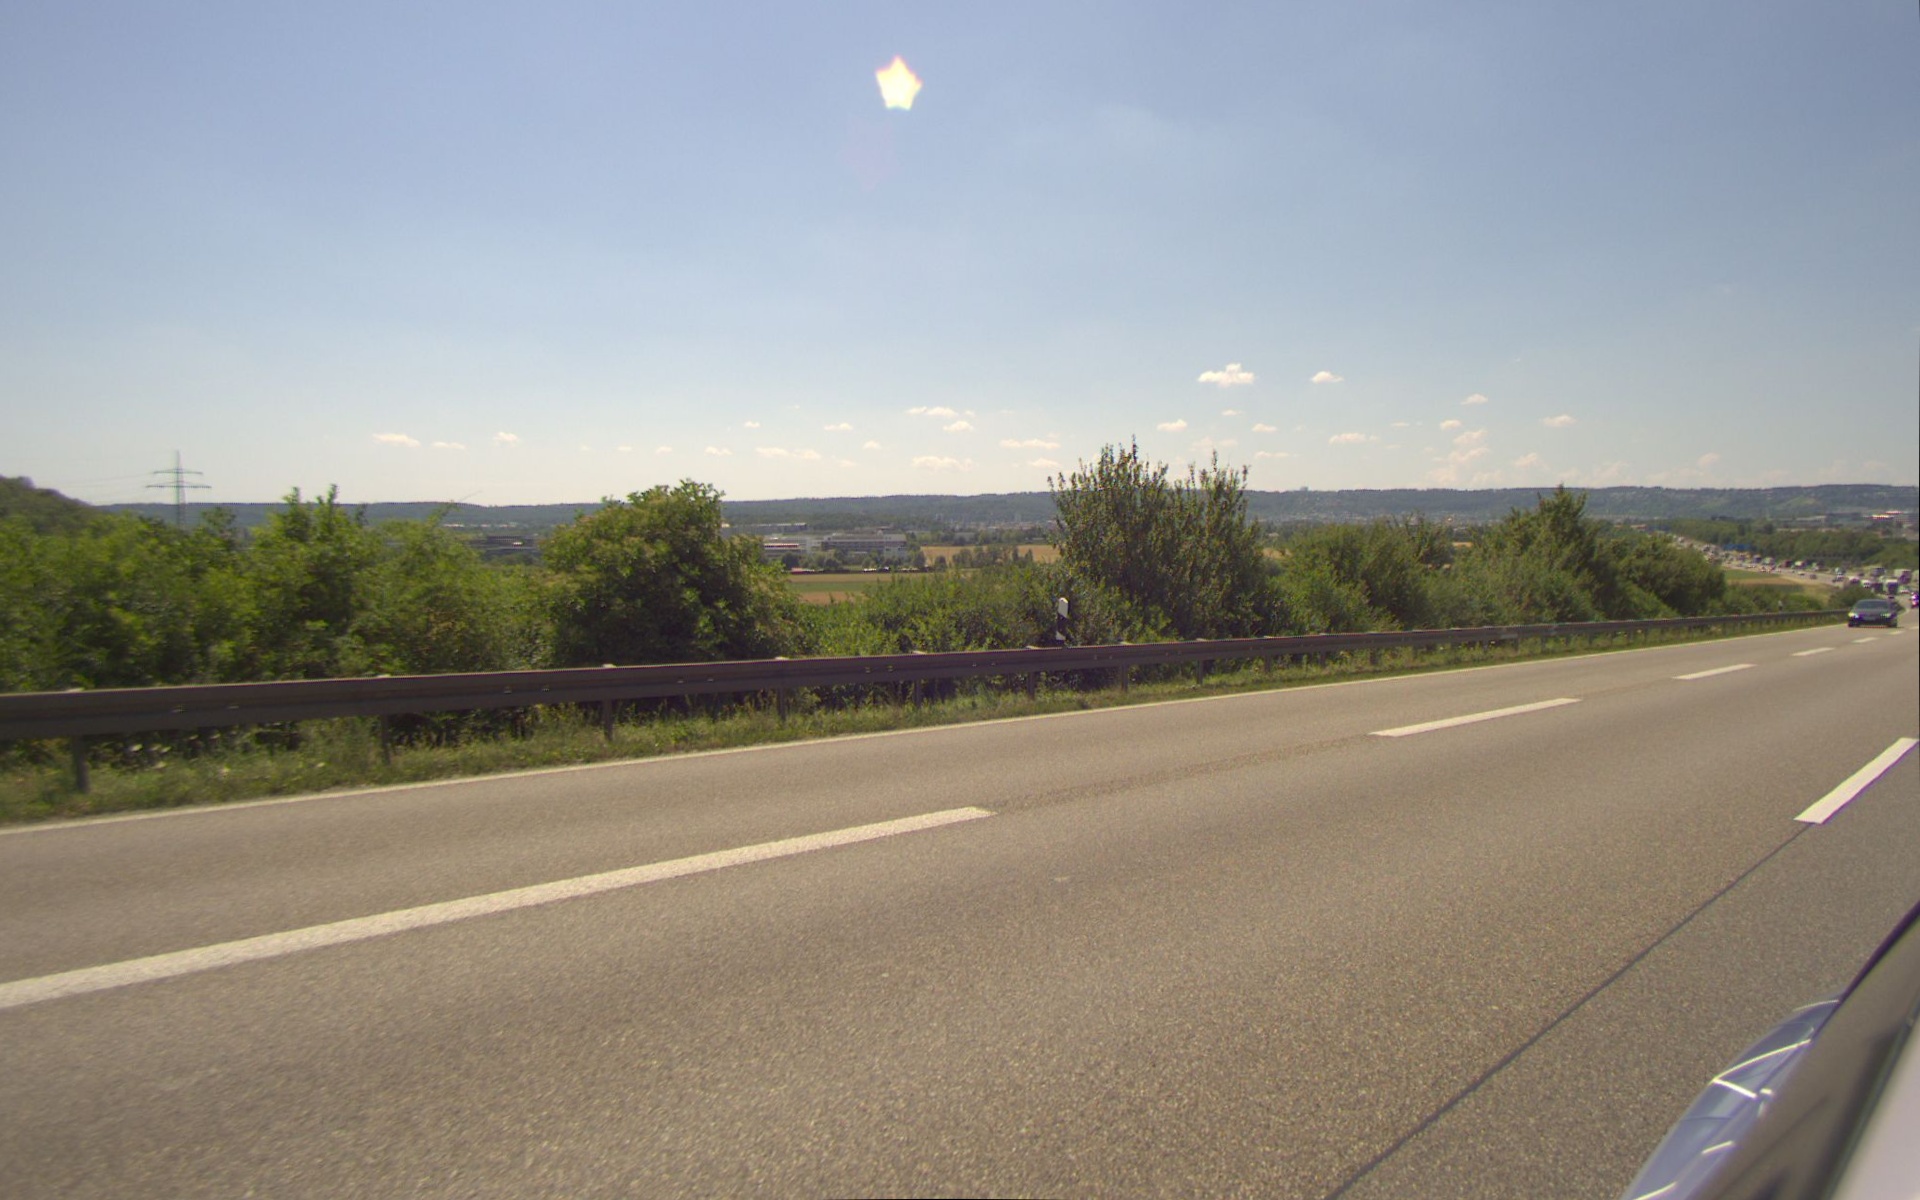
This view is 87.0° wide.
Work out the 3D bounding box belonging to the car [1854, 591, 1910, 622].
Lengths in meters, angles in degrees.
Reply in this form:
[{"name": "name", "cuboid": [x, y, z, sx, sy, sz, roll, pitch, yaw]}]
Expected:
[{"name": "car", "cuboid": [48.085, 0.316, 52.740, 2.032, 1.571, 3.936, 1, 1, 44]}]
